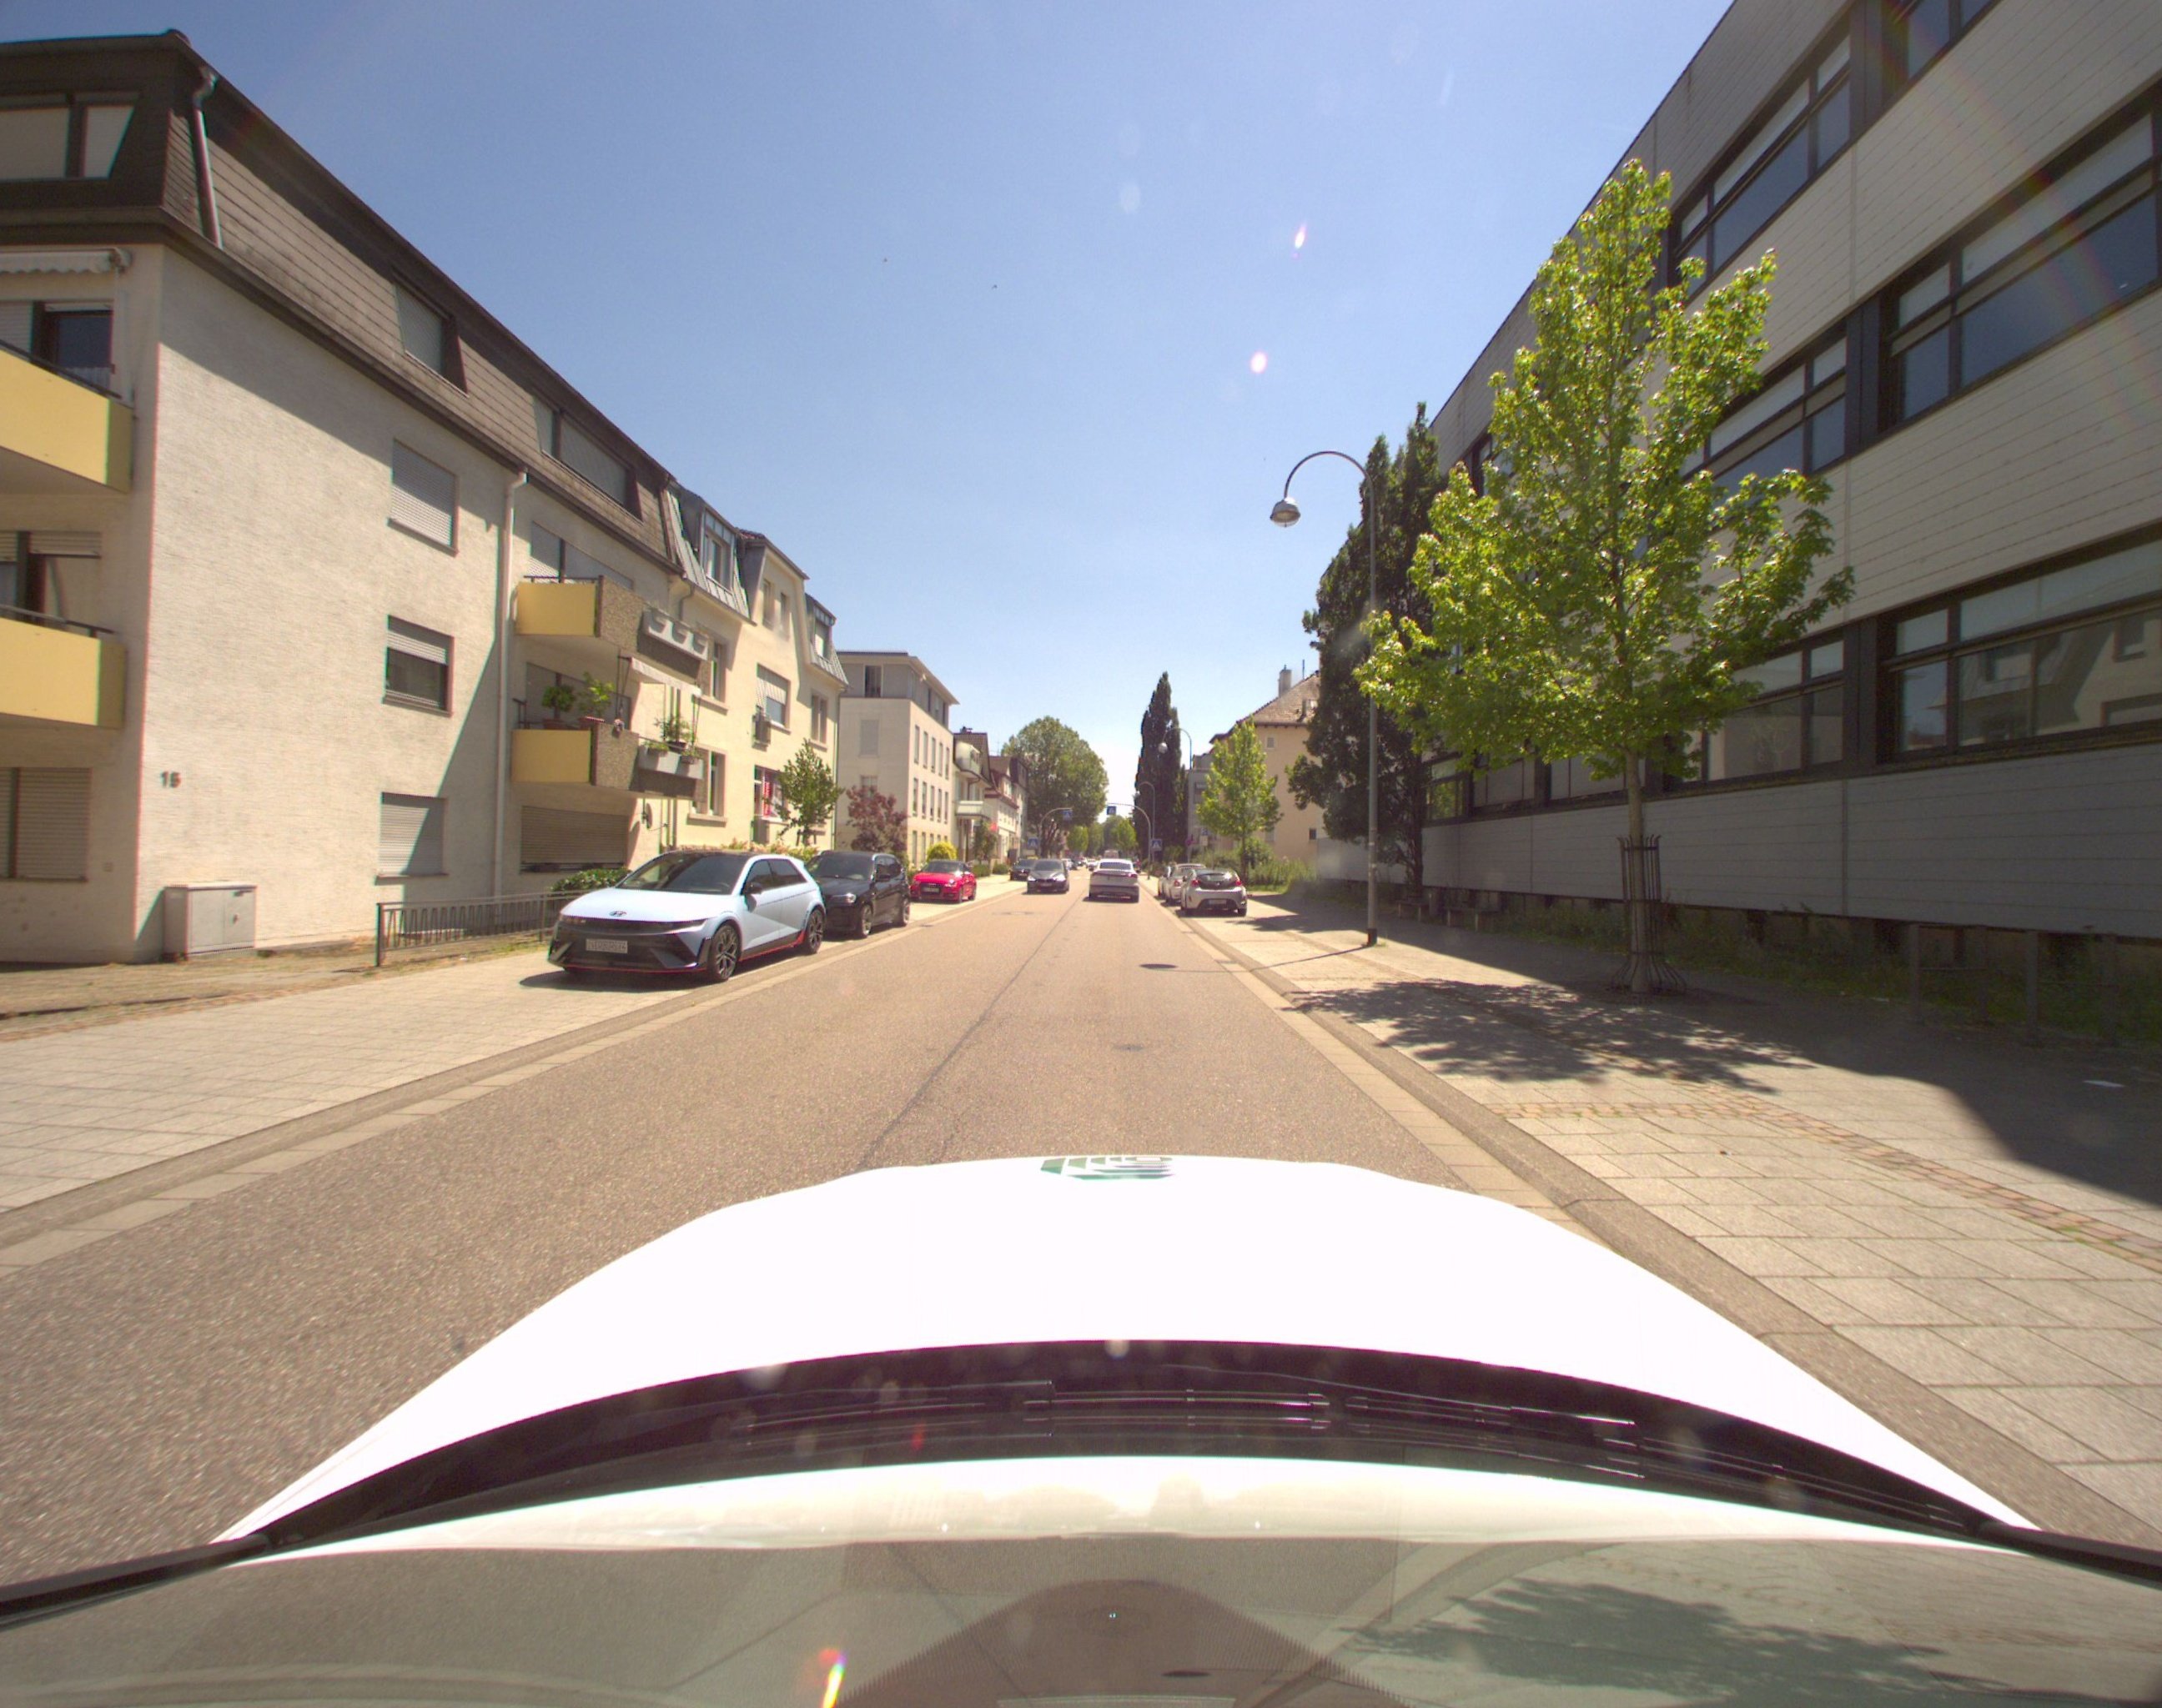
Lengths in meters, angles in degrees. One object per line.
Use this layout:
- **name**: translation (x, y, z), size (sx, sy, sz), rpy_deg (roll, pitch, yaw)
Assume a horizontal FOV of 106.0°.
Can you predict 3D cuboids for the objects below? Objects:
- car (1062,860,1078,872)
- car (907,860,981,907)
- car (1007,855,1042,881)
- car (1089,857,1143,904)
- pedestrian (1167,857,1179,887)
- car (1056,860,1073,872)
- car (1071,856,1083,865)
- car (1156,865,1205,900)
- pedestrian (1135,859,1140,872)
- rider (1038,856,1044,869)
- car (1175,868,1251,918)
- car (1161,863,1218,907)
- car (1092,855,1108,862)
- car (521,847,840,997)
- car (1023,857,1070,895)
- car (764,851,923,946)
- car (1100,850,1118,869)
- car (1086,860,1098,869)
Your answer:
- **car**: translation (-1.497, 1.636, 113.372), size (1.986, 1.520, 4.001), rpy_deg (0, 0, 1)
- **car**: translation (-4.703, 0.969, 28.488), size (1.642, 1.419, 3.908), rpy_deg (3, 0, 3)
- **car**: translation (-3.828, 0.947, 55.681), size (1.918, 1.720, 4.474), rpy_deg (0, 0, 2)
- **car**: translation (1.406, 0.995, 32.579), size (1.928, 1.614, 4.474), rpy_deg (3, 0, 2)
- **pedestrian**: translation (5.389, 1.058, 47.742), size (0.636, 1.758, 0.616), rpy_deg (0, -1, -3)
- **car**: translation (-2.173, 1.611, 107.044), size (1.986, 1.520, 4.001), rpy_deg (0, 0, 1)
- **car**: translation (-0.704, 1.162, 147.989), size (1.986, 1.520, 4.001), rpy_deg (0, 0, 1)
- **car**: translation (4.308, 1.190, 35.848), size (1.719, 1.383, 4.403), rpy_deg (-1, 0, 1)
- **pedestrian**: translation (7.733, 1.542, 111.126), size (0.692, 1.736, 0.667), rpy_deg (0, -1, -3)
- **rider**: translation (-4.616, 0.996, 93.934), size (0.659, 1.553, 0.661), rpy_deg (0, -1, 1)
- **car**: translation (4.010, 1.146, 25.339), size (1.855, 1.373, 4.002), rpy_deg (-1, 0, 2)
- **car**: translation (4.069, 1.124, 31.041), size (1.652, 1.488, 4.346), rpy_deg (-1, 0, 1)
- **car**: translation (5.007, 1.207, 213.823), size (3.964, 1.651, 2.005), rpy_deg (0, 0, 8)
- **car**: translation (-5.151, 0.763, 11.395), size (1.918, 1.573, 4.661), rpy_deg (3, 0, 2)
- **car**: translation (-1.543, 0.994, 38.224), size (1.967, 1.670, 4.472), rpy_deg (0, 0, 1)
- **car**: translation (-4.756, 0.815, 17.054), size (1.718, 1.619, 4.573), rpy_deg (3, 0, 2)
- **car**: translation (3.459, 0.657, 101.478), size (2.063, 2.197, 5.138), rpy_deg (1, 0, 0)
- **car**: translation (1.776, 1.649, 129.266), size (1.972, 1.520, 4.001), rpy_deg (0, 0, 1)
